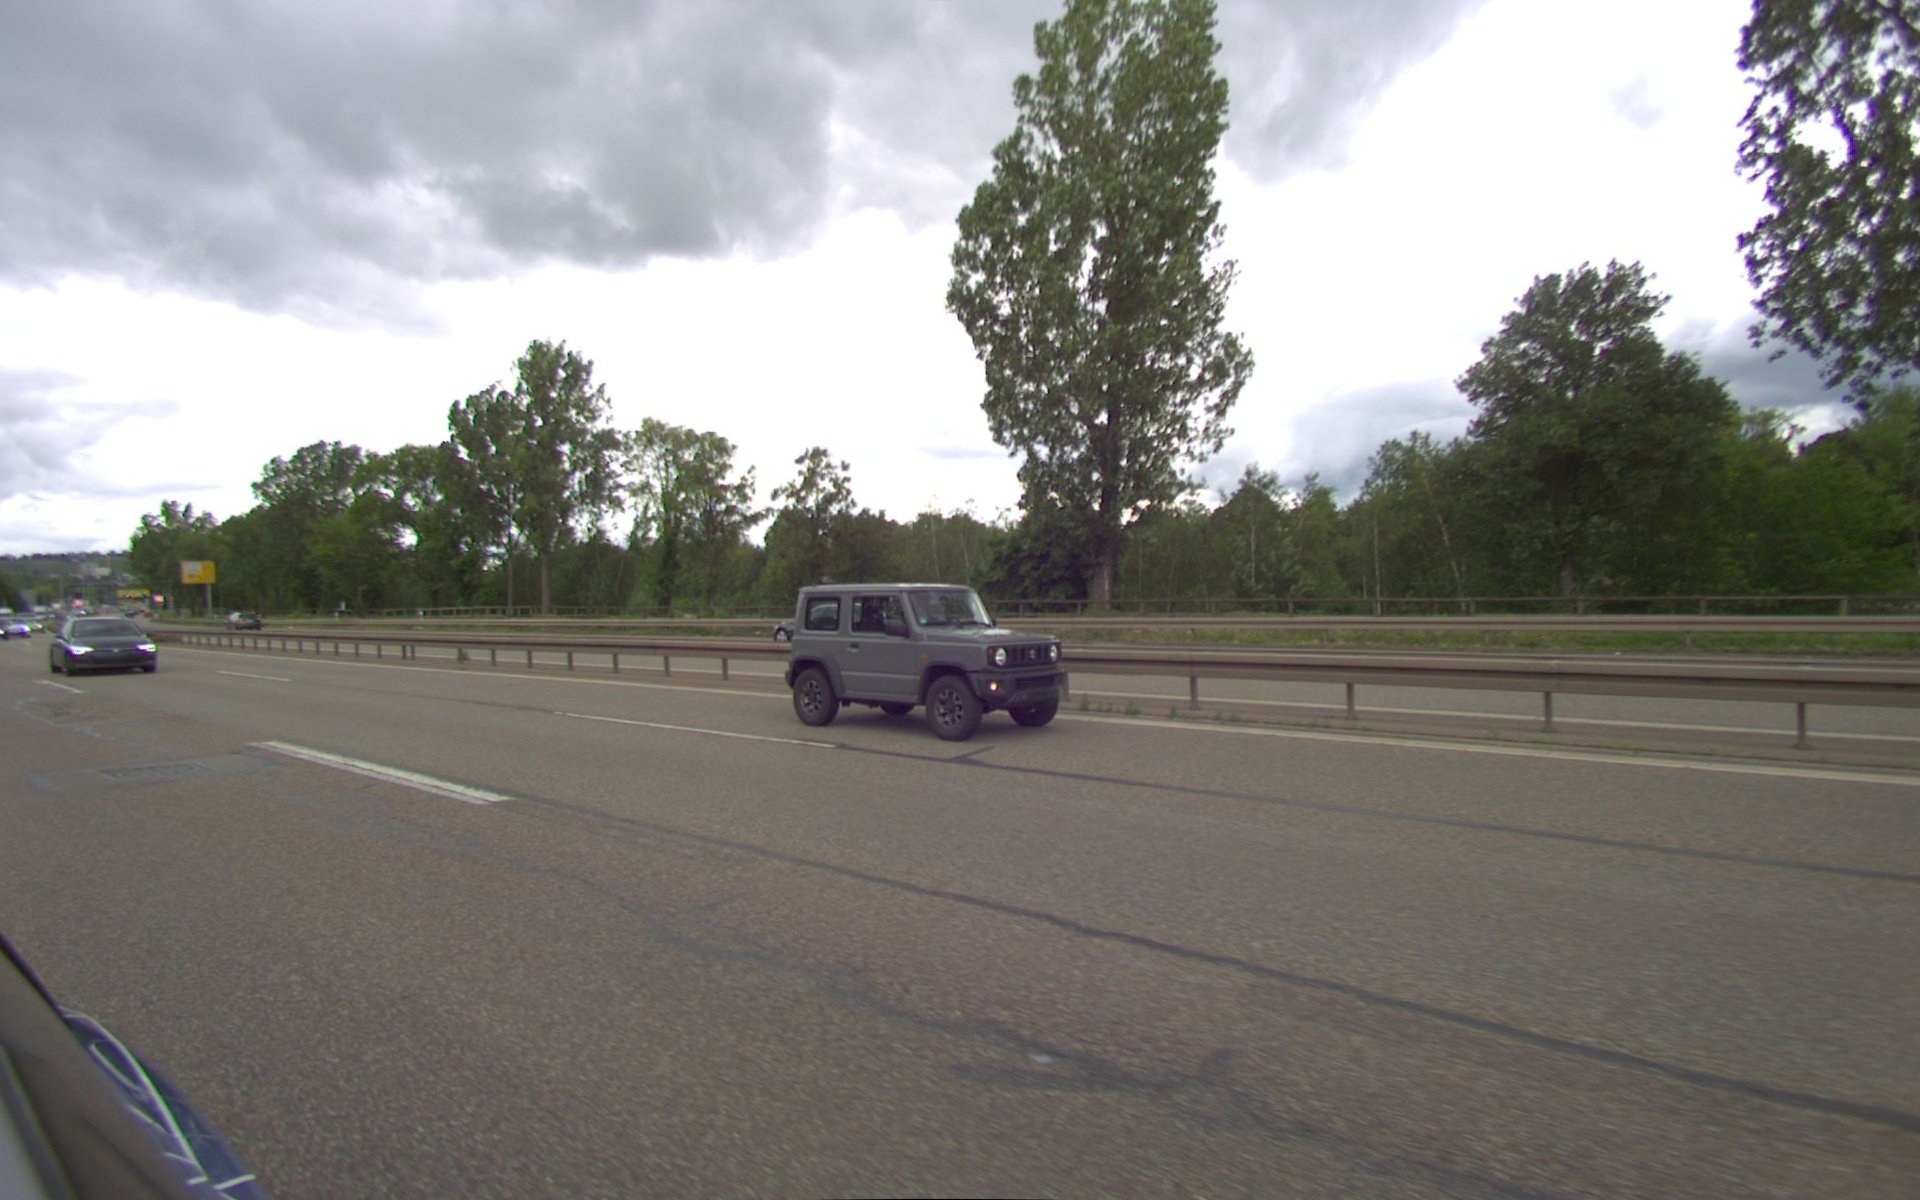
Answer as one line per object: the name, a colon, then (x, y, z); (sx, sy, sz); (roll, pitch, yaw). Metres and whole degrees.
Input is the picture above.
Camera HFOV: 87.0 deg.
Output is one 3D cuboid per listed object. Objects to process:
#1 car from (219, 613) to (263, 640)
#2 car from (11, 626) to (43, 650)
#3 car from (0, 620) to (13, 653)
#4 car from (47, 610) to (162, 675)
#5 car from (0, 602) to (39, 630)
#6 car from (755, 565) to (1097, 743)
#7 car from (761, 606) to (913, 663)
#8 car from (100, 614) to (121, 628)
car: (-57.976, 2.113, 81.525); (5.224, 2.028, 1.971); (-2, 1, 45)
car: (-87.040, 3.536, 94.419); (4.002, 2.028, 1.971); (-2, 1, 45)
car: (-62.670, 2.388, 65.366); (4.002, 2.028, 1.971); (-2, 1, 45)
car: (-22.200, 1.060, 26.202); (4.305, 1.512, 1.913); (-2, -1, 45)
car: (-67.460, 1.136, 72.569); (4.001, 1.878, 1.852); (-1, 0, 44)
car: (-0.521, 0.549, 11.934); (3.997, 1.749, 1.663); (-1, 0, 42)
car: (-3.831, 1.063, 31.092); (4.644, 1.621, 1.974); (-2, -2, 38)
car: (-127.009, 3.089, 151.279); (4.000, 2.029, 1.972); (-1, 0, 43)
